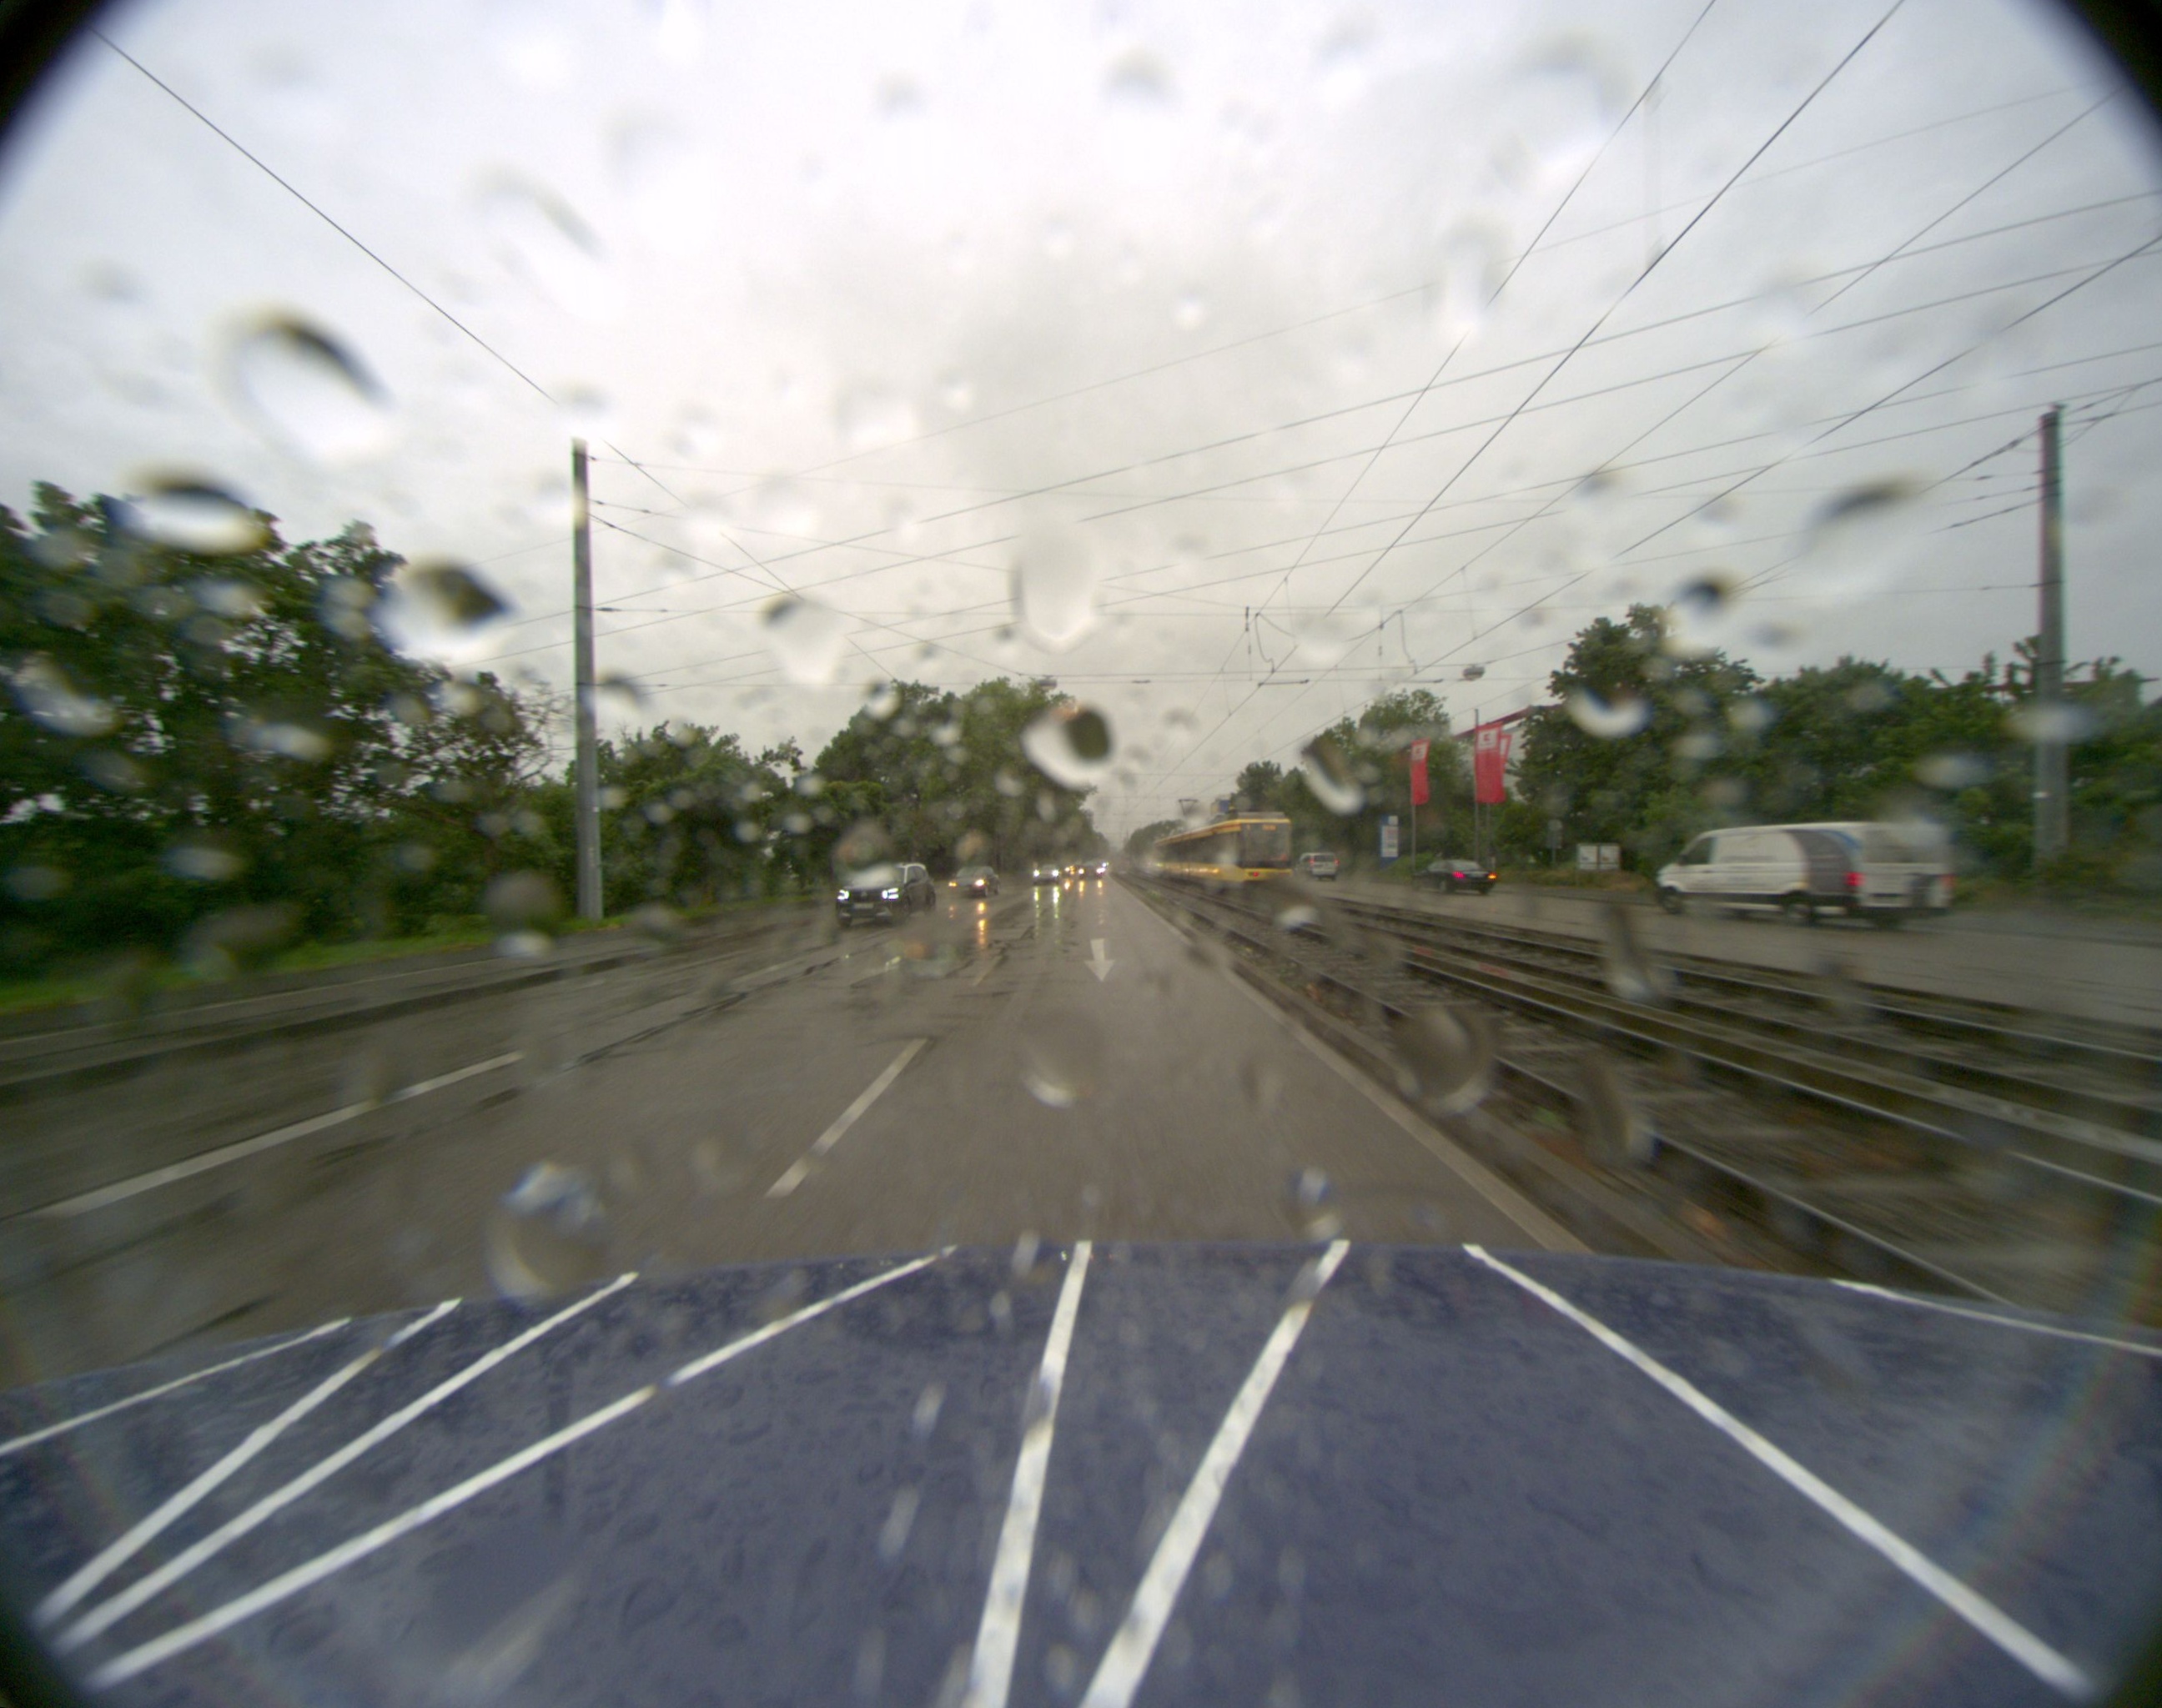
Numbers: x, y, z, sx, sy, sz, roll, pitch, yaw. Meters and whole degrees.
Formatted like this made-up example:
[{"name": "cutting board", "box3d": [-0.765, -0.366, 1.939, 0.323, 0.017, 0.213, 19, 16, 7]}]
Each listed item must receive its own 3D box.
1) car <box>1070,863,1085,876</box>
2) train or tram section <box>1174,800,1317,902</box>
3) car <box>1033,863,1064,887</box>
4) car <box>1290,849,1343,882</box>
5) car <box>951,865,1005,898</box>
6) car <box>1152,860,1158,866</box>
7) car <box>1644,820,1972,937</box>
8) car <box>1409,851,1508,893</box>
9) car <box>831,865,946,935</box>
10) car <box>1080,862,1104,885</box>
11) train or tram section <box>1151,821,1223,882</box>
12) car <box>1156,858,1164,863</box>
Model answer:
[{"name": "car", "box3d": [-0.444, 2.076, 102.603, 1.846, 1.572, 3.838, -2, -1, 0]}, {"name": "train or tram section", "box3d": [7.269, 0.032, 37.774, 2.893, 3.683, 19.531, -2, -1, 0]}, {"name": "car", "box3d": [-2.161, 1.415, 51.358, 1.807, 1.521, 3.646, -2, -1, 0]}, {"name": "car", "box3d": [16.158, 0.793, 52.363, 2.095, 2.087, 4.731, -2, -1, 0]}, {"name": "car", "box3d": [-4.695, 1.217, 35.037, 1.783, 1.419, 4.001, -1, -1, 2]}, {"name": "car", "box3d": [21.654, 2.685, 223.092, 1.648, 1.536, 4.002, 0, -1, 4]}, {"name": "car", "box3d": [16.857, 0.536, 18.294, 2.156, 2.284, 5.984, 2, -1, 0]}, {"name": "car", "box3d": [16.180, 0.748, 32.854, 1.901, 1.630, 4.731, -2, -1, 0]}, {"name": "car", "box3d": [-5.218, 1.178, 21.276, 1.797, 1.692, 4.764, -2, -1, 2]}, {"name": "car", "box3d": [0.907, 1.542, 60.047, 1.815, 1.692, 4.001, -1, -1, 2]}, {"name": "train or tram section", "box3d": [7.438, -0.025, 56.542, 2.872, 3.683, 17.892, -2, -1, 0]}, {"name": "car", "box3d": [21.329, 1.746, 205.525, 1.708, 1.536, 4.001, 0, -1, 2]}]
